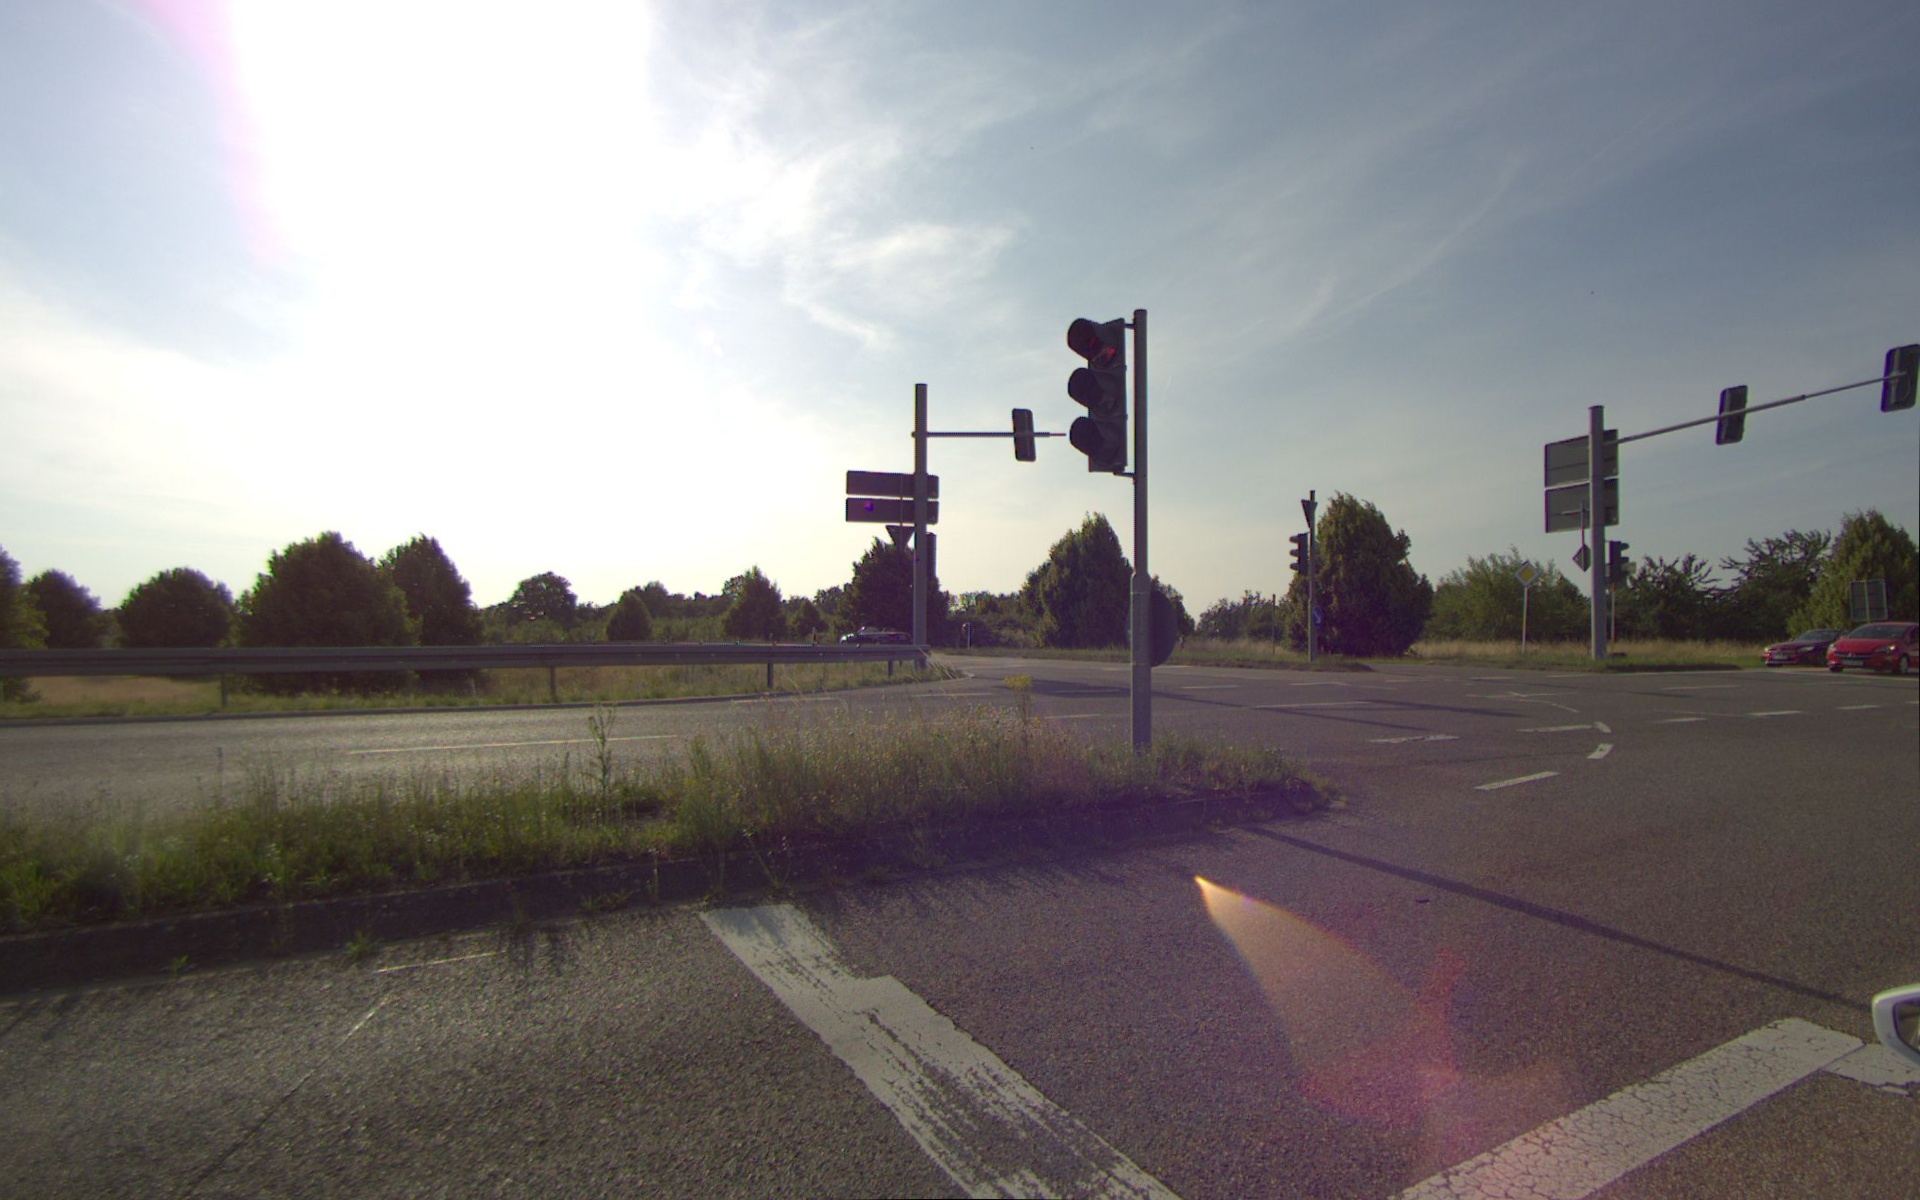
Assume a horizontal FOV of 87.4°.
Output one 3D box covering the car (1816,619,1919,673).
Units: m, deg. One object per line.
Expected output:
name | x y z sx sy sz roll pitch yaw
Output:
car | 27.006 1.324 29.401 3.756 1.507 1.714 1 -1 -28

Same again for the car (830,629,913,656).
car | -4.663 2.189 52.625 4.598 1.299 1.717 -1 -2 43

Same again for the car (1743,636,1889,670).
car | 30.757 1.905 36.113 4.406 1.116 1.993 1 -1 -17
